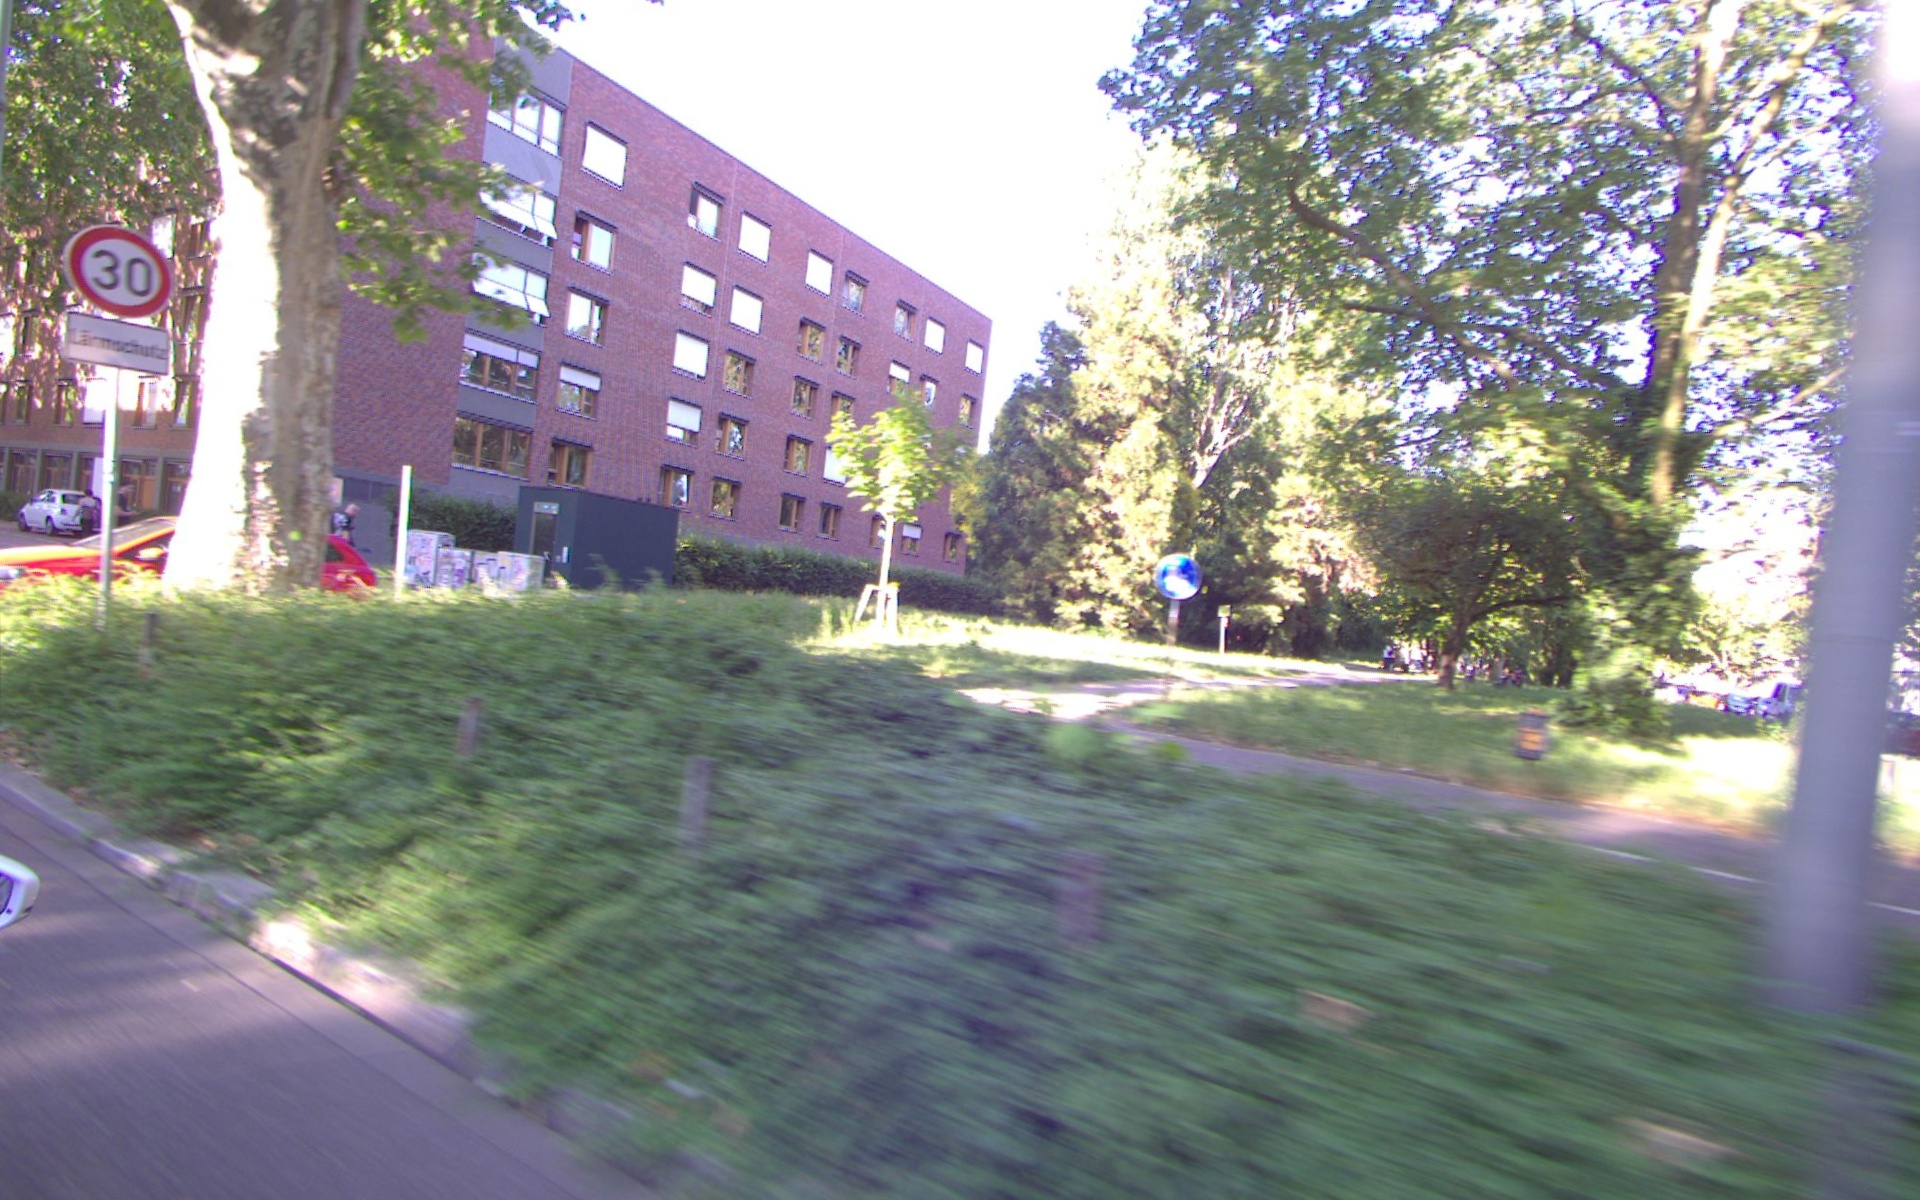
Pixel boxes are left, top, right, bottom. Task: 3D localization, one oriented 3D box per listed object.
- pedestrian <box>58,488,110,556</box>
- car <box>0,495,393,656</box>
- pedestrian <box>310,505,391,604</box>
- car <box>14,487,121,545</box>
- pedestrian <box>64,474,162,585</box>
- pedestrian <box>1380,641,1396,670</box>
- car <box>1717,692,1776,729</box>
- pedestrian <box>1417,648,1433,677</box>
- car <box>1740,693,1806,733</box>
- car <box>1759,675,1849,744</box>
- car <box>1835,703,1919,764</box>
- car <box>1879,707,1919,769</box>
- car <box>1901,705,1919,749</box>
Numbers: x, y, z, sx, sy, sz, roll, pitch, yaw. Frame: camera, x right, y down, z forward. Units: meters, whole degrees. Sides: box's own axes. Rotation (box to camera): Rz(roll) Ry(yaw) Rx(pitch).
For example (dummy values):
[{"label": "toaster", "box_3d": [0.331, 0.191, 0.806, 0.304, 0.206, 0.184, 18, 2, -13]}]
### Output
[{"label": "pedestrian", "box_3d": [-23.598, -2.101, 27.106, 0.821, 1.690, 0.736, 7, 1, 31]}, {"label": "car", "box_3d": [-8.759, -0.226, 11.179, 1.622, 1.441, 3.885, 7, 0, 35]}, {"label": "pedestrian", "box_3d": [-12.459, -0.921, 20.565, 0.998, 1.890, 0.983, 7, 5, 27]}, {"label": "car", "box_3d": [-29.250, -2.766, 32.949, 3.359, 1.514, 1.602, 7, 1, 30]}, {"label": "pedestrian", "box_3d": [-15.221, -1.249, 18.095, 0.849, 1.834, 0.996, 7, 1, 26]}, {"label": "pedestrian", "box_3d": [26.096, 3.404, 61.376, 0.639, 1.682, 0.648, 7, 2, 32]}, {"label": "car", "box_3d": [42.773, 5.979, 54.787, 1.769, 1.529, 3.992, 7, 1, 30]}, {"label": "pedestrian", "box_3d": [28.584, 3.864, 61.887, 0.639, 1.682, 0.648, 7, 2, 32]}, {"label": "car", "box_3d": [40.519, 5.590, 50.200, 1.769, 1.529, 3.992, 7, 1, 30]}, {"label": "car", "box_3d": [37.736, 4.836, 45.132, 1.942, 2.595, 5.035, 7, 1, 30]}, {"label": "car", "box_3d": [30.699, 4.396, 33.332, 1.655, 1.601, 3.922, 7, 1, 30]}, {"label": "car", "box_3d": [28.694, 4.125, 29.450, 1.655, 1.601, 3.922, 7, 1, 30]}, {"label": "car", "box_3d": [46.135, 6.121, 45.666, 4.498, 1.932, 1.792, 7, 1, 28]}]
